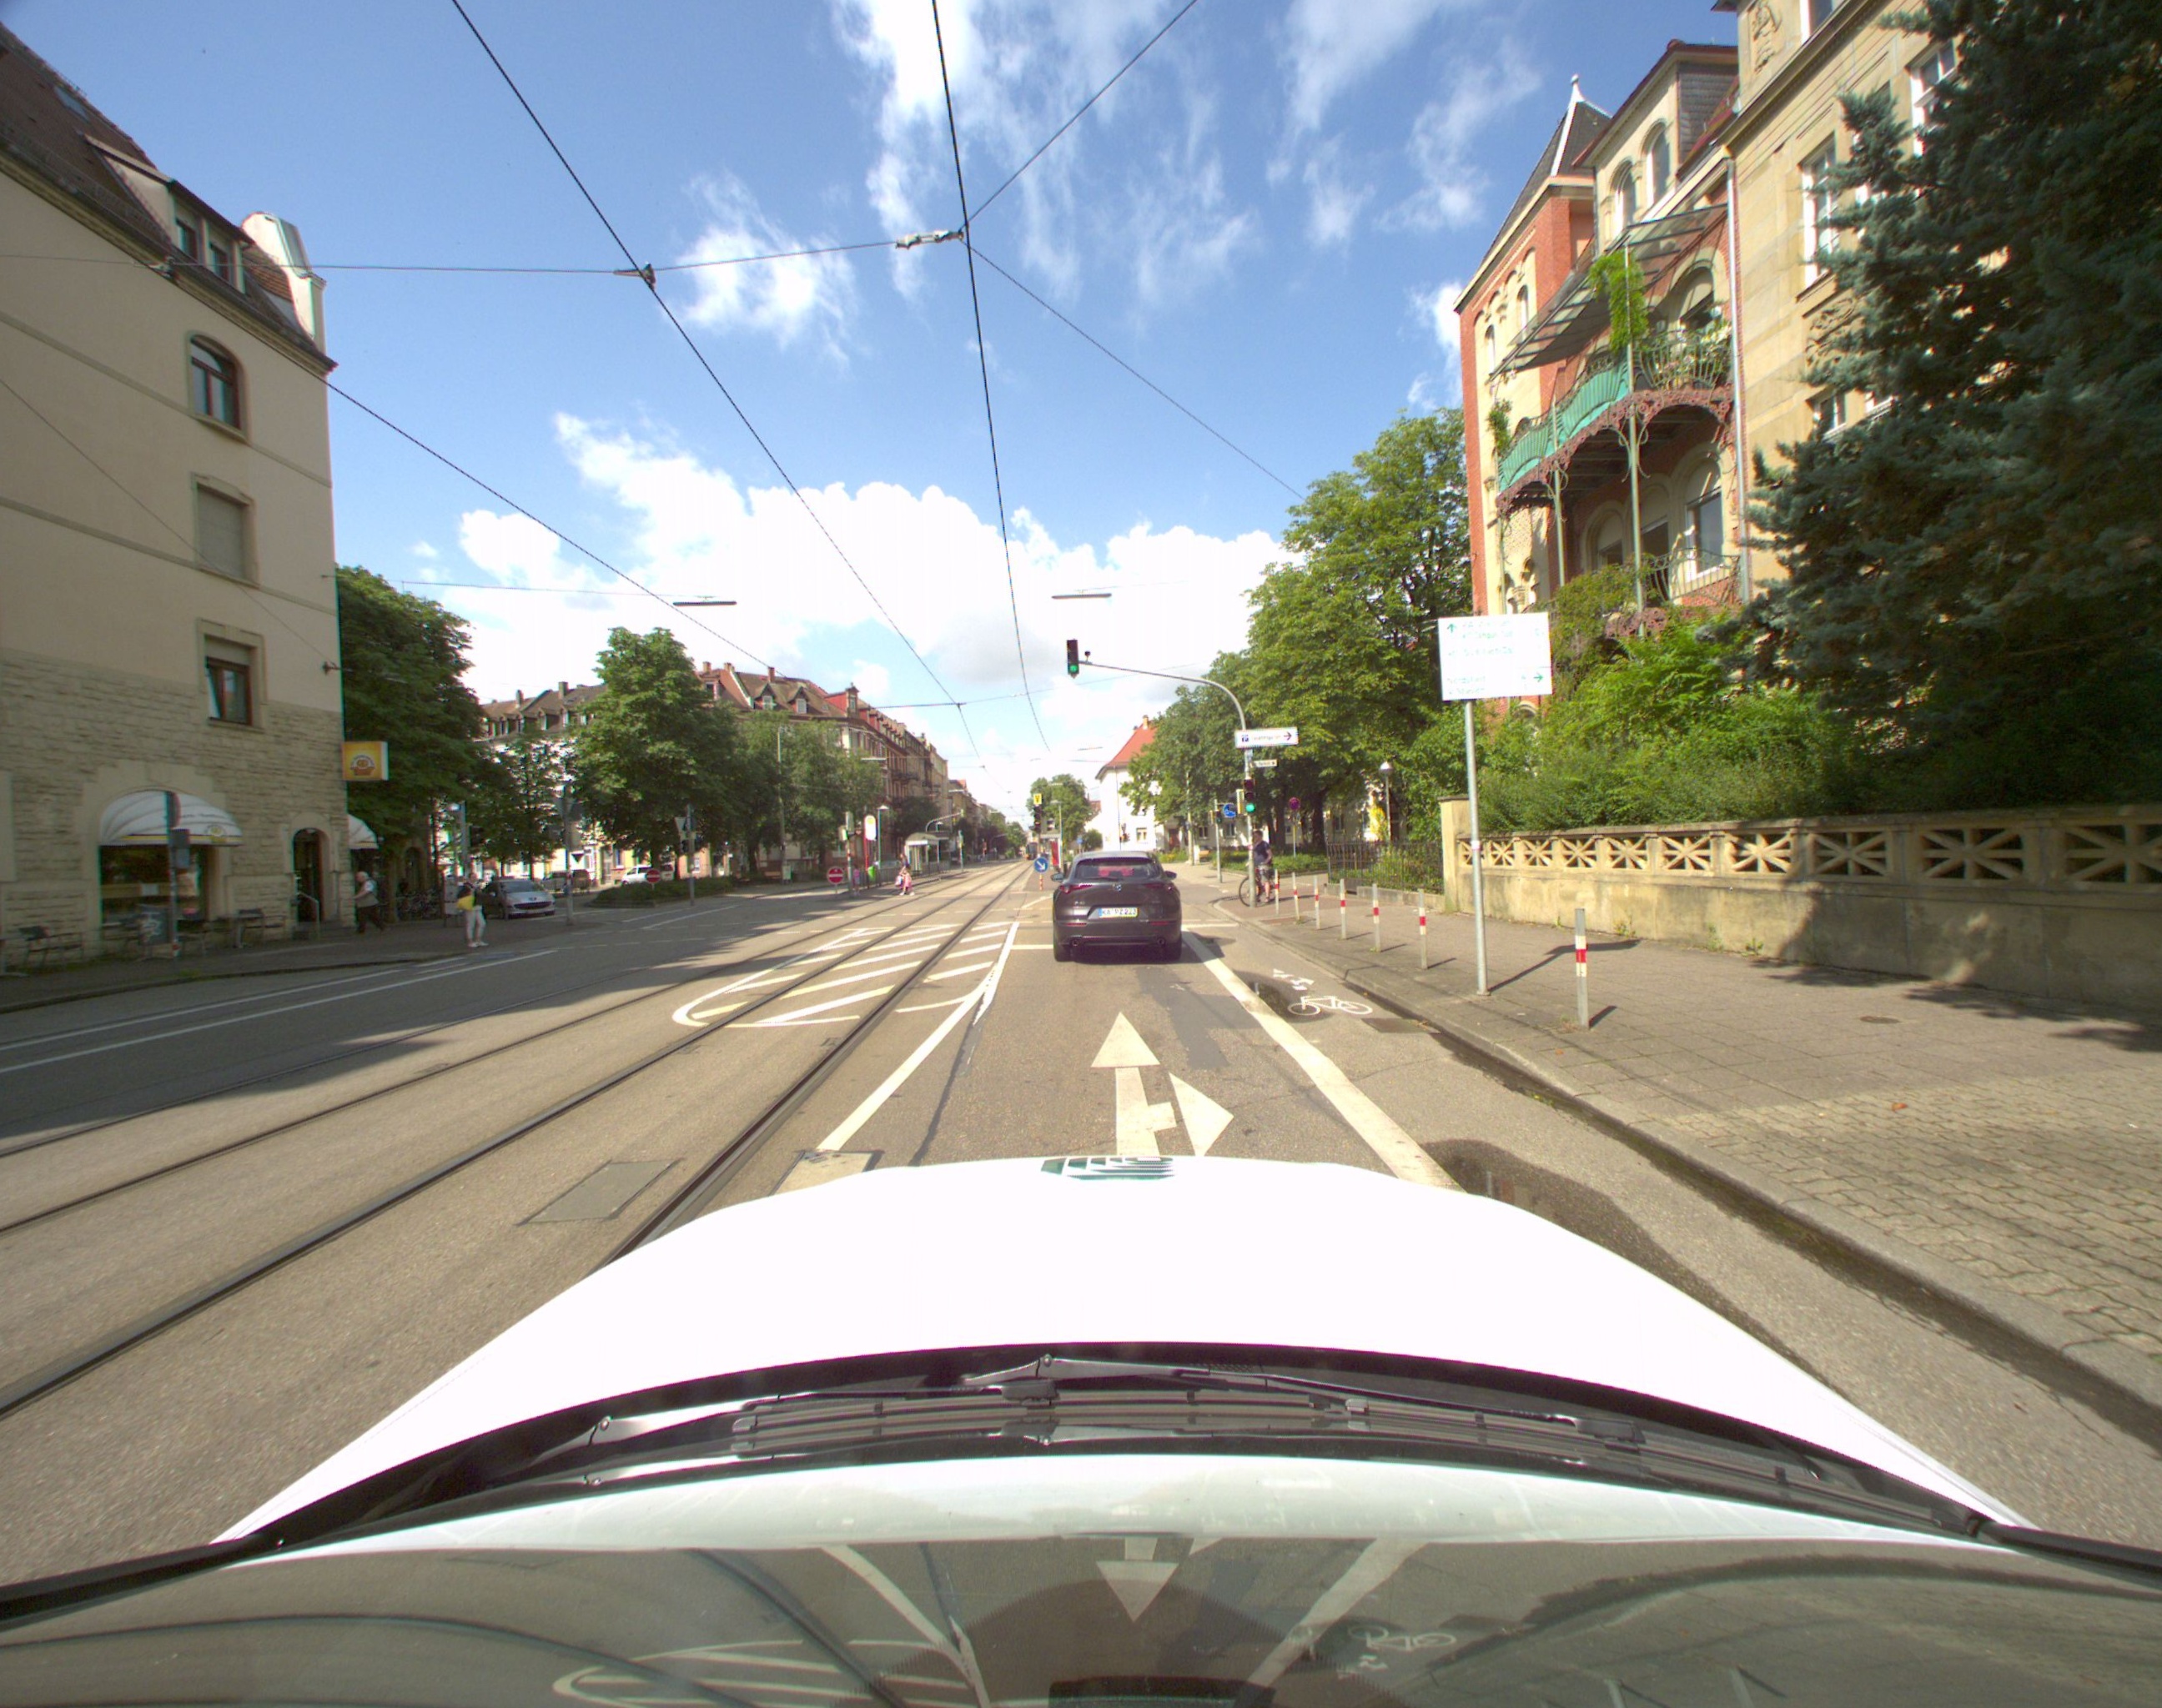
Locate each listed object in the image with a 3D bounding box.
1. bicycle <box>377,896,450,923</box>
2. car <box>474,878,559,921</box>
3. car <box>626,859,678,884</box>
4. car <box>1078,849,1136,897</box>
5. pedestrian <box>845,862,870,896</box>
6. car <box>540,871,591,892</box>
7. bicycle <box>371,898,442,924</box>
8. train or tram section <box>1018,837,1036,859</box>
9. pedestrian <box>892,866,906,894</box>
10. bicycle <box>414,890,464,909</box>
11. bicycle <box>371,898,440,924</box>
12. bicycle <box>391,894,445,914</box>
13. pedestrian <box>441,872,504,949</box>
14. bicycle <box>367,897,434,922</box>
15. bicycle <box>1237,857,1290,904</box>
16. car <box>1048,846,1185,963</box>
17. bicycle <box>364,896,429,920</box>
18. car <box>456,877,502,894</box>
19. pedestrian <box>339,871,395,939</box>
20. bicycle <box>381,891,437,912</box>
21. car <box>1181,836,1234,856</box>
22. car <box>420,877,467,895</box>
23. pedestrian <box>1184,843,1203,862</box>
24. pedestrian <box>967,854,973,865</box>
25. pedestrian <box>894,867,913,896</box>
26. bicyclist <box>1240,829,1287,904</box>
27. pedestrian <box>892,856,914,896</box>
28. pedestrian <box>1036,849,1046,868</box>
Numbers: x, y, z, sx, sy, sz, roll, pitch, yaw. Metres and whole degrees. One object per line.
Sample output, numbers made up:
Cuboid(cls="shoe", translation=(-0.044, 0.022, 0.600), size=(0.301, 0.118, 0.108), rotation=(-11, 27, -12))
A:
Cuboid(cls="bicycle", translation=(-24.814, 2.059, 30.318), size=(0.516, 0.882, 2.043), rotation=(-3, -1, 44))
Cuboid(cls="car", translation=(-21.642, 1.724, 31.166), size=(3.823, 1.420, 1.732), rotation=(-3, 0, 41))
Cuboid(cls="car", translation=(-37.838, 1.520, 71.801), size=(3.901, 1.988, 1.866), rotation=(-2, 0, 21))
Cuboid(cls="car", translation=(0.818, 0.591, 27.646), size=(1.770, 1.464, 3.841), rotation=(-1, 0, -1))
Cuboid(cls="pedestrian", translation=(-9.298, 1.032, 33.905), size=(0.825, 1.303, 0.715), rotation=(-5, 0, -7))
Cuboid(cls="car", translation=(-47.250, 2.503, 74.692), size=(3.895, 1.663, 1.926), rotation=(-3, 0, 20))
Cuboid(cls="bicycle", translation=(-25.808, 2.167, 31.204), size=(0.505, 0.882, 2.043), rotation=(-3, -1, 44))
Cuboid(cls="train or tram section", translation=(-10.874, -1.117, 164.607), size=(2.990, 3.983, 13.798), rotation=(-3, -1, -2))
Cuboid(cls="pedestrian", translation=(-7.594, 1.078, 34.008), size=(0.437, 1.108, 0.422), rotation=(-5, 0, -7))
Cuboid(cls="bicycle", translation=(-34.525, 2.441, 43.810), size=(2.037, 0.898, 0.566), rotation=(-1, -1, -30))
Cuboid(cls="bicycle", translation=(-26.613, 2.226, 32.126), size=(0.505, 0.882, 2.043), rotation=(-3, -1, 44))
Cuboid(cls="bicycle", translation=(-33.848, 2.528, 41.592), size=(2.037, 0.898, 0.566), rotation=(-1, -1, -30))
Cuboid(cls="pedestrian", translation=(-14.069, 1.298, 18.861), size=(0.754, 1.704, 0.873), rotation=(1, 0, -3))
Cuboid(cls="bicycle", translation=(-27.591, 2.243, 33.036), size=(0.505, 0.882, 2.043), rotation=(-3, -1, 44))
Cuboid(cls="bicycle", translation=(4.611, 0.652, 20.476), size=(0.385, 1.035, 1.857), rotation=(-3, 1, 42))
Cuboid(cls="car", translation=(0.531, 0.668, 12.638), size=(1.775, 1.514, 4.002), rotation=(-1, 0, 2))
Cuboid(cls="bicycle", translation=(-28.766, 2.252, 34.260), size=(0.539, 0.882, 2.043), rotation=(-3, -1, 44))
Cuboid(cls="car", translation=(-57.635, 3.010, 77.957), size=(3.606, 1.493, 1.638), rotation=(-3, 0, 18))
Cuboid(cls="pedestrian", translation=(-18.530, 1.304, 21.137), size=(0.846, 1.672, 0.827), rotation=(-3, 0, 33))
Cuboid(cls="bicycle", translation=(-32.778, 2.311, 39.744), size=(2.039, 0.898, 0.566), rotation=(-1, -1, -33))
Cuboid(cls="car", translation=(11.192, -0.719, 72.176), size=(4.118, 1.509, 1.864), rotation=(-2, 2, 40))
Cuboid(cls="car", translation=(-62.177, 3.111, 79.445), size=(3.875, 1.555, 1.726), rotation=(-3, 0, 19))
Cuboid(cls="pedestrian", translation=(8.149, -0.082, 59.088), size=(1.191, 1.269, 0.556), rotation=(-5, 0, -8))
Cuboid(cls="pedestrian", translation=(-17.023, 0.798, 125.336), size=(0.785, 1.688, 0.732), rotation=(-3, 0, -1))
Cuboid(cls="pedestrian", translation=(-7.118, 1.085, 32.690), size=(0.640, 1.114, 0.442), rotation=(-3, 0, -7))
Cuboid(cls="bicyclist", translation=(4.551, 0.303, 20.366), size=(0.736, 1.819, 0.814), rotation=(-3, 0, -25))
Cuboid(cls="pedestrian", translation=(-7.273, 0.876, 33.265), size=(0.727, 1.565, 0.797), rotation=(-3, 0, -7))
Cuboid(cls="pedestrian", translation=(-3.625, 0.421, 74.123), size=(0.769, 1.674, 0.667), rotation=(-3, 0, -3))
